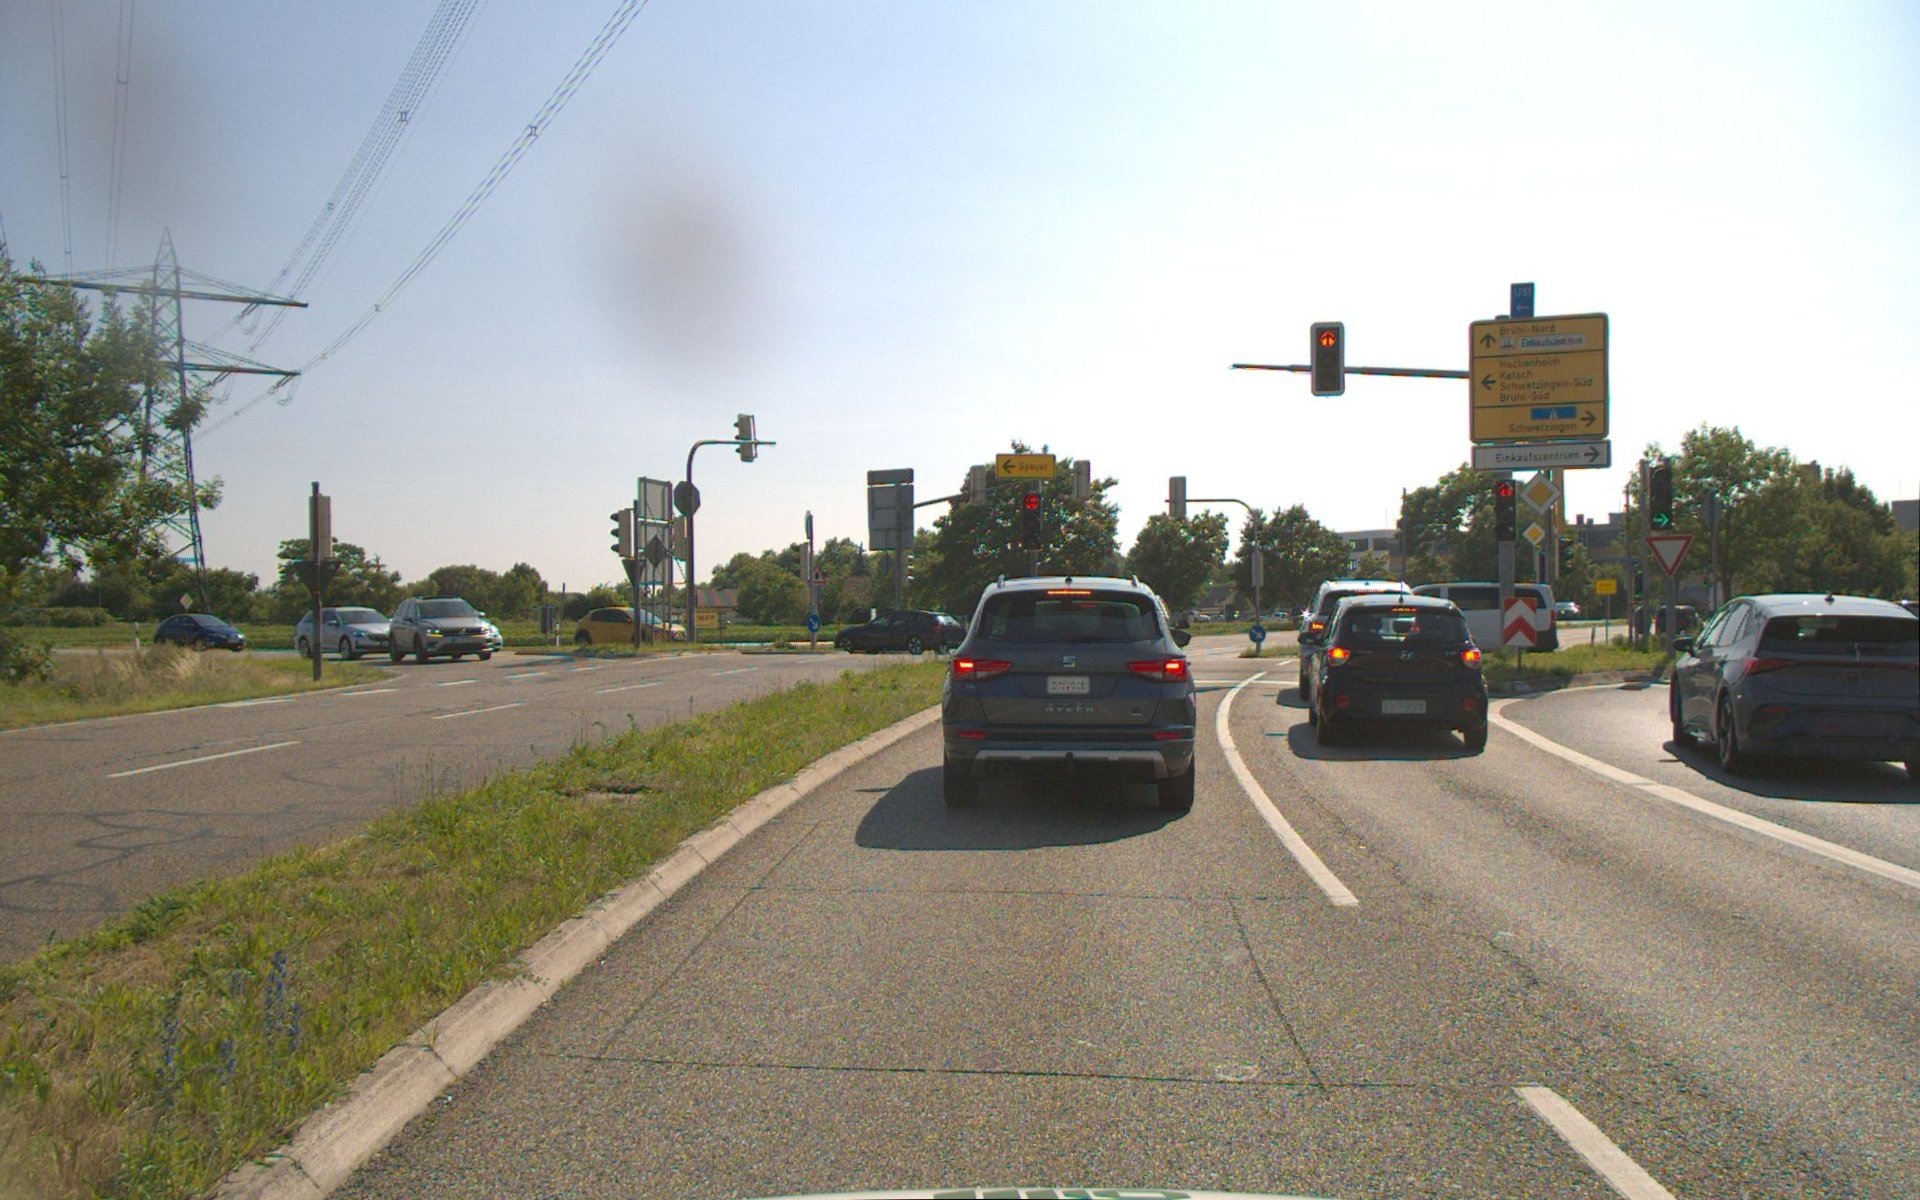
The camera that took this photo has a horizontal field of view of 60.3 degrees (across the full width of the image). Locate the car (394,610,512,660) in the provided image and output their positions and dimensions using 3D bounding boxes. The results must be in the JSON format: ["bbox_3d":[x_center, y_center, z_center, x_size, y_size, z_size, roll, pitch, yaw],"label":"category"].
[{"bbox_3d":[-17.763,1.196,57.897,3.914,1.680,1.816,-1,0,31],"label":"car"}]

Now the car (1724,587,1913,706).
[{"bbox_3d":[11.714,0.563,22.445,1.615,1.410,3.983,0,1,38],"label":"car"}]

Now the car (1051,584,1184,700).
[{"bbox_3d":[2.345,0.572,23.917,1.705,1.510,3.627,1,0,8],"label":"car"}]

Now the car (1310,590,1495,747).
[{"bbox_3d":[4.579,0.647,17.481,1.598,1.473,3.298,1,0,10],"label":"car"}]

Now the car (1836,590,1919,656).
[{"bbox_3d":[23.208,0.540,39.265,4.240,1.545,1.805,-1,0,29],"label":"car"}]

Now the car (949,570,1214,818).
[{"bbox_3d":[0.880,0.605,12.508,1.705,1.596,3.626,0,0,3],"label":"car"}]

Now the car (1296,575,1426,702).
[{"bbox_3d":[5.804,0.520,24.278,1.598,1.706,3.753,1,0,10],"label":"car"}]

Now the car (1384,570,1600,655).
[{"bbox_3d":[12.914,0.281,40.433,4.826,1.951,2.002,1,1,12],"label":"car"}]

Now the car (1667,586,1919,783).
[{"bbox_3d":[7.864,0.666,15.437,1.735,1.544,4.103,0,1,15],"label":"car"}]

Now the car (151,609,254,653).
[{"bbox_3d":[-29.754,1.209,64.946,3.914,1.680,1.816,-1,0,31],"label":"car"}]

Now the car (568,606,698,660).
[{"bbox_3d":[-10.496,1.042,53.113,3.914,1.680,1.816,-1,0,31],"label":"car"}]

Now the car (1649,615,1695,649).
[{"bbox_3d":[37.221,1.669,86.410,1.841,1.702,3.764,1,0,28],"label":"car"}]

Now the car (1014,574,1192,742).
[{"bbox_3d":[1.524,0.568,17.953,1.705,1.596,3.626,1,0,4],"label":"car"}]

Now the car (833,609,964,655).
[{"bbox_3d":[-2.035,1.040,54.498,4.014,1.441,1.713,0,0,30],"label":"car"}]

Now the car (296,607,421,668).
[{"bbox_3d":[-17.330,1.045,47.571,3.930,1.680,1.808,-1,0,43],"label":"car"}]

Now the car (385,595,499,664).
[{"bbox_3d":[-13.312,0.728,42.398,1.798,1.680,3.954,0,0,-33],"label":"car"}]
